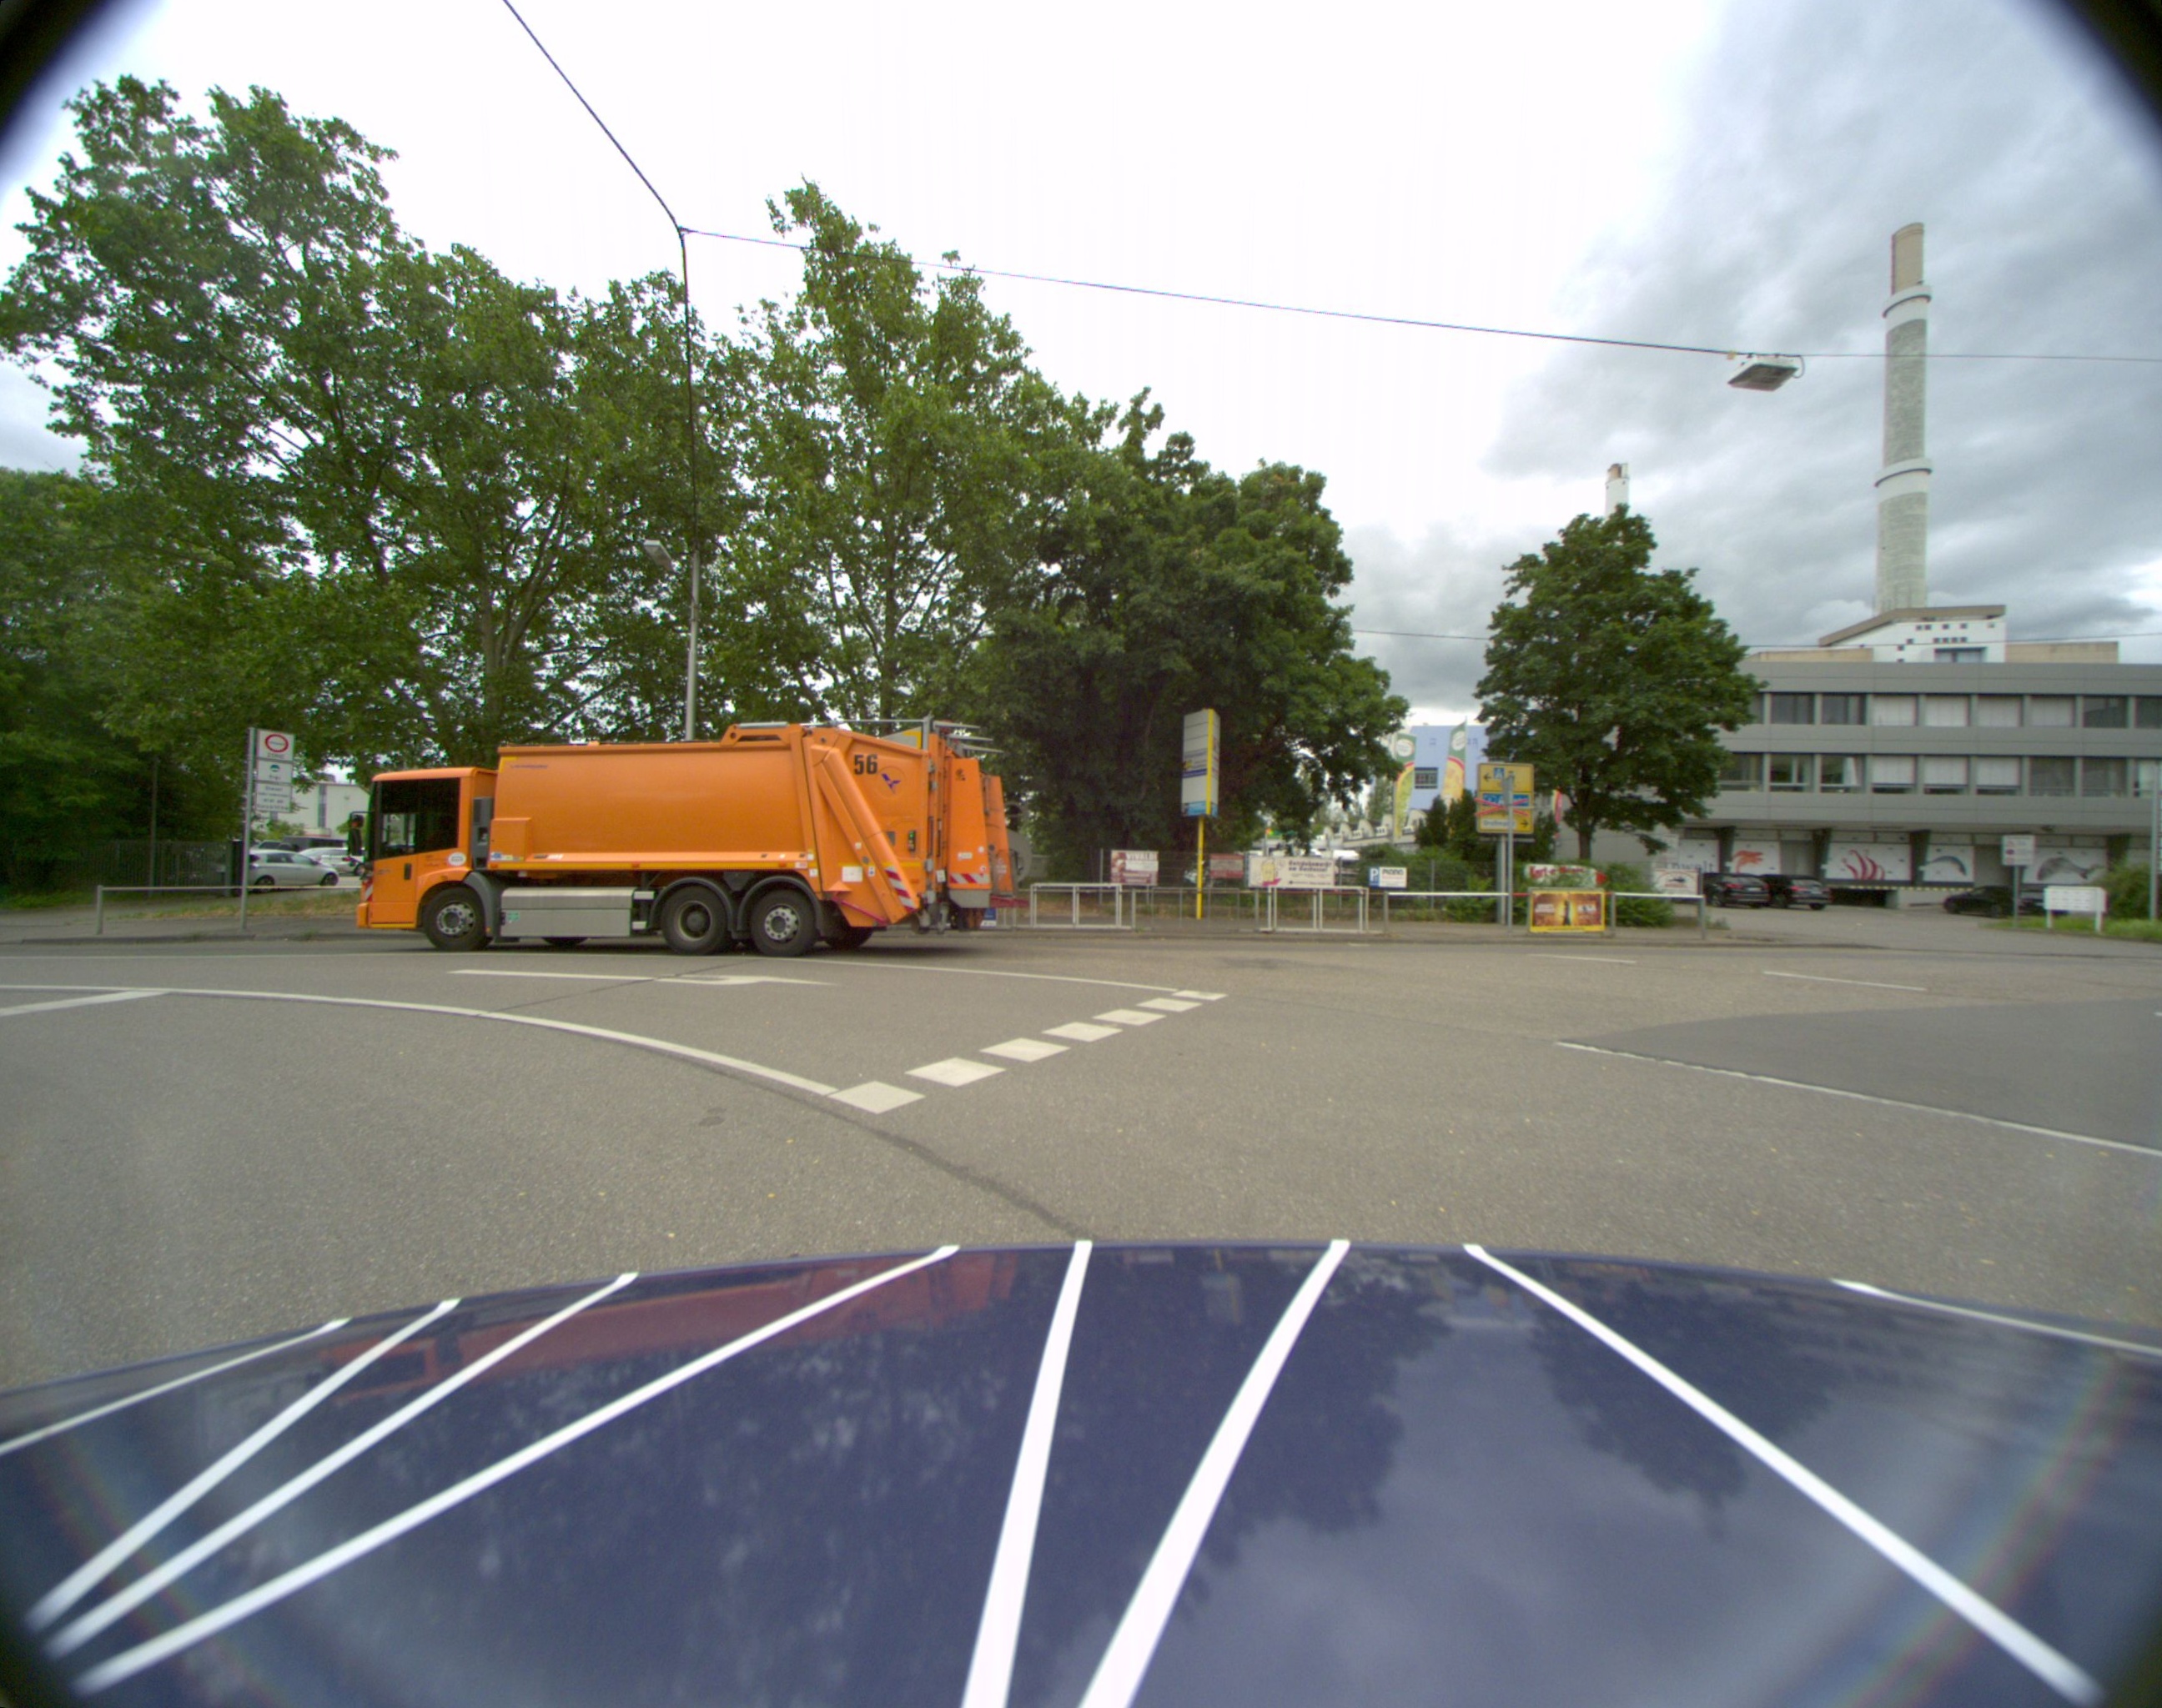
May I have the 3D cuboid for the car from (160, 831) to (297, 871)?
[{"bbox_3d":[-45.976,-0.127,41.173,1.999,2.001,4.824,1,-1,-1],"label":"car"}]

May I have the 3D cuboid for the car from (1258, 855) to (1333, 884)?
[{"bbox_3d":[22.353,1.609,79.481,7.146,2.716,2.245,2,-1,4],"label":"car"}]

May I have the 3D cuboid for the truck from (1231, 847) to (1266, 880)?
[{"bbox_3d":[21.990,1.258,100.062,2.996,4.141,9.192,1,-1,4],"label":"truck"}]

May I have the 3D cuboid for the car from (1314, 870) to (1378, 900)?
[{"bbox_3d":[12.340,1.425,35.575,1.708,1.241,3.702,2,-1,1],"label":"car"}]

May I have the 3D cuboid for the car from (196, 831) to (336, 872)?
[{"bbox_3d":[-43.499,-0.071,40.791,1.999,1.986,5.103,1,-1,-1],"label":"car"}]

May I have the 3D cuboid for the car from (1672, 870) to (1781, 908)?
[{"bbox_3d":[31.667,1.653,37.482,1.836,1.608,4.467,2,0,6],"label":"car"}]

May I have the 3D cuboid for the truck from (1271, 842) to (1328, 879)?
[{"bbox_3d":[25.928,0.838,91.055,2.849,3.909,15.734,2,-1,2],"label":"truck"}]

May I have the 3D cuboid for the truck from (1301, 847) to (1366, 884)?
[{"bbox_3d":[29.878,1.380,90.987,2.849,3.909,15.733,2,-1,2],"label":"truck"}]

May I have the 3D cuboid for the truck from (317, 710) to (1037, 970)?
[{"bbox_3d":[-6.082,-0.131,12.192,10.408,3.505,2.800,0,-1,6],"label":"truck"}]

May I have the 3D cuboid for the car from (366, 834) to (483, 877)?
[{"bbox_3d":[-33.640,0.118,39.156,1.999,2.001,4.641,1,-1,-1],"label":"car"}]

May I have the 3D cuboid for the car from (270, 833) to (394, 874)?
[{"bbox_3d":[-39.692,0.021,40.474,1.999,2.001,4.641,1,-1,-1],"label":"car"}]

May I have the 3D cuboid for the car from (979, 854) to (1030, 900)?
[{"bbox_3d":[-2.829,0.870,28.751,1.591,1.603,4.001,1,-2,-1],"label":"car"}]

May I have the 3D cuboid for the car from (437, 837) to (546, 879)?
[{"bbox_3d":[-30.390,0.218,39.376,1.999,2.001,4.641,1,-1,-1],"label":"car"}]

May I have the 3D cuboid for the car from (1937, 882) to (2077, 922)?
[{"bbox_3d":[42.512,2.138,35.086,2.045,1.437,4.836,1,1,23],"label":"car"}]

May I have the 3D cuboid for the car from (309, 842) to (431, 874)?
[{"bbox_3d":[-36.919,0.230,39.658,1.999,1.549,4.641,1,-1,-1],"label":"car"}]

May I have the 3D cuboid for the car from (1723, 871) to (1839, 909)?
[{"bbox_3d":[34.374,1.729,37.476,1.837,1.608,4.425,2,0,5],"label":"car"}]
